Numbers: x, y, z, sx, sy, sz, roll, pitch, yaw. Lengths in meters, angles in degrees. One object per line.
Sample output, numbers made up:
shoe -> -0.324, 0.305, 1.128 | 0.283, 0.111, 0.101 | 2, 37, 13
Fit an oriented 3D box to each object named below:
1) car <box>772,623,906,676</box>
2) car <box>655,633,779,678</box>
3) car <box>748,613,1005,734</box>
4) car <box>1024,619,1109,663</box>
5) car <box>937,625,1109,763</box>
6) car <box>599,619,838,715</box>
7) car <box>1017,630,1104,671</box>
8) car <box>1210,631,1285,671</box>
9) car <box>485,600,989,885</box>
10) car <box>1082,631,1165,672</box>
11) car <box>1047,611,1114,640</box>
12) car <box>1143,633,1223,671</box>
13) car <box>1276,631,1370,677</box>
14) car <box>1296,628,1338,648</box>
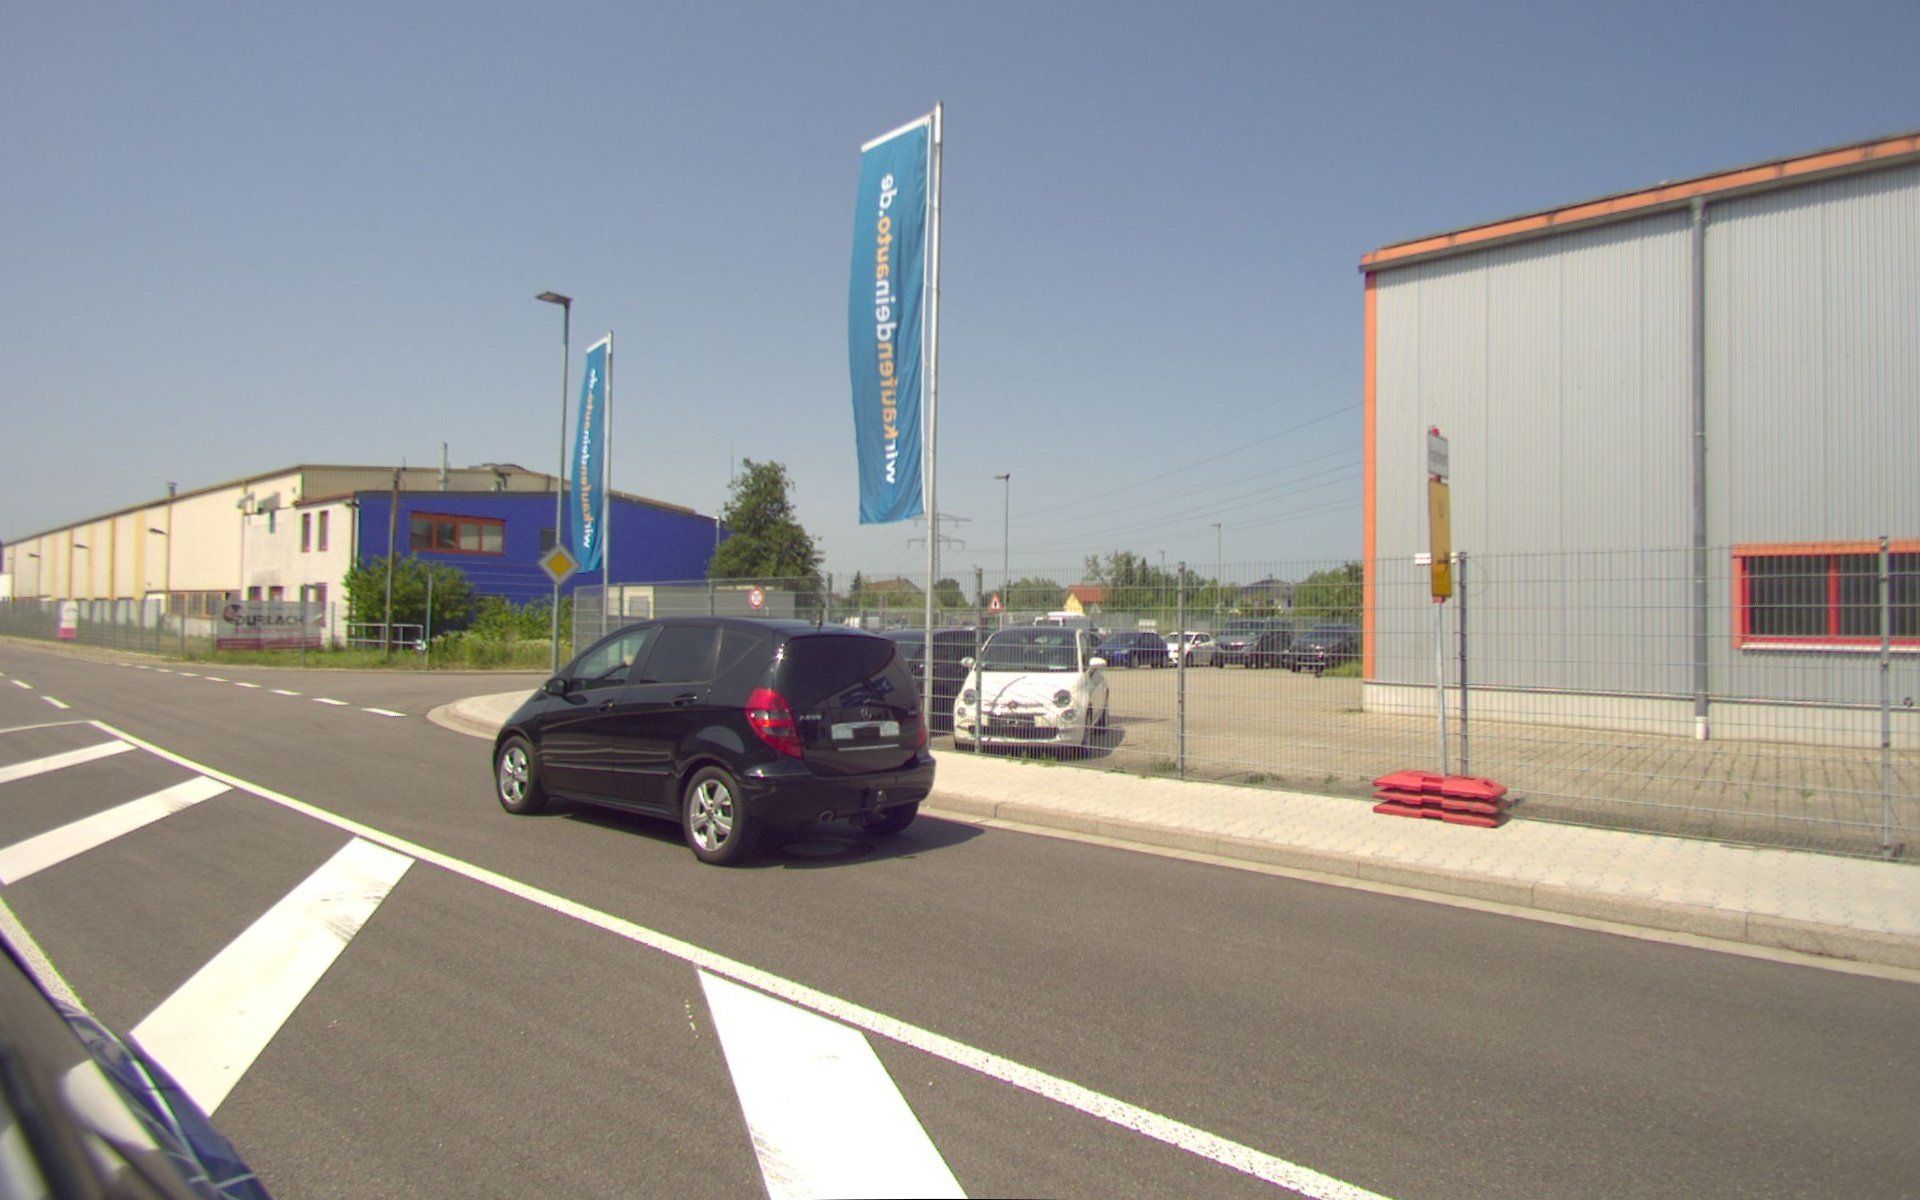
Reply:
car -> -3.703, 1.482, 30.666 | 3.995, 1.514, 1.752 | -2, -3, 39
car -> -8.699, 1.938, 36.447 | 1.773, 1.514, 4.107 | -2, -2, 39
car -> -1.079, 1.014, 14.921 | 1.769, 1.514, 3.955 | -1, -3, 32
car -> 5.460, 2.059, 51.304 | 2.007, 2.076, 4.750 | 0, -2, 38
car -> 0.926, 1.067, 12.805 | 1.575, 1.476, 3.471 | 0, -2, 14
car -> -4.198, 1.151, 18.130 | 1.772, 1.514, 3.950 | -1, -3, 36
car -> 4.025, 1.987, 39.992 | 1.770, 1.514, 3.953 | -2, -3, 34
car -> 11.564, 2.035, 40.567 | 1.770, 1.514, 3.953 | -2, -3, 34
car -> -1.809, 0.881, 7.626 | 3.793, 1.606, 1.724 | -1, -4, 40
car -> 6.382, 1.979, 39.253 | 1.770, 1.514, 3.766 | -2, -3, 34
car -> 8.961, 1.894, 75.063 | 4.621, 2.029, 1.985 | 0, -3, 22
car -> 9.381, 2.149, 42.444 | 1.772, 1.514, 3.949 | -2, -3, 37
car -> 12.285, 1.800, 34.097 | 1.871, 1.431, 4.025 | -1, -3, 37
car -> 27.828, 2.962, 78.773 | 1.774, 1.514, 4.106 | -1, -2, 40
